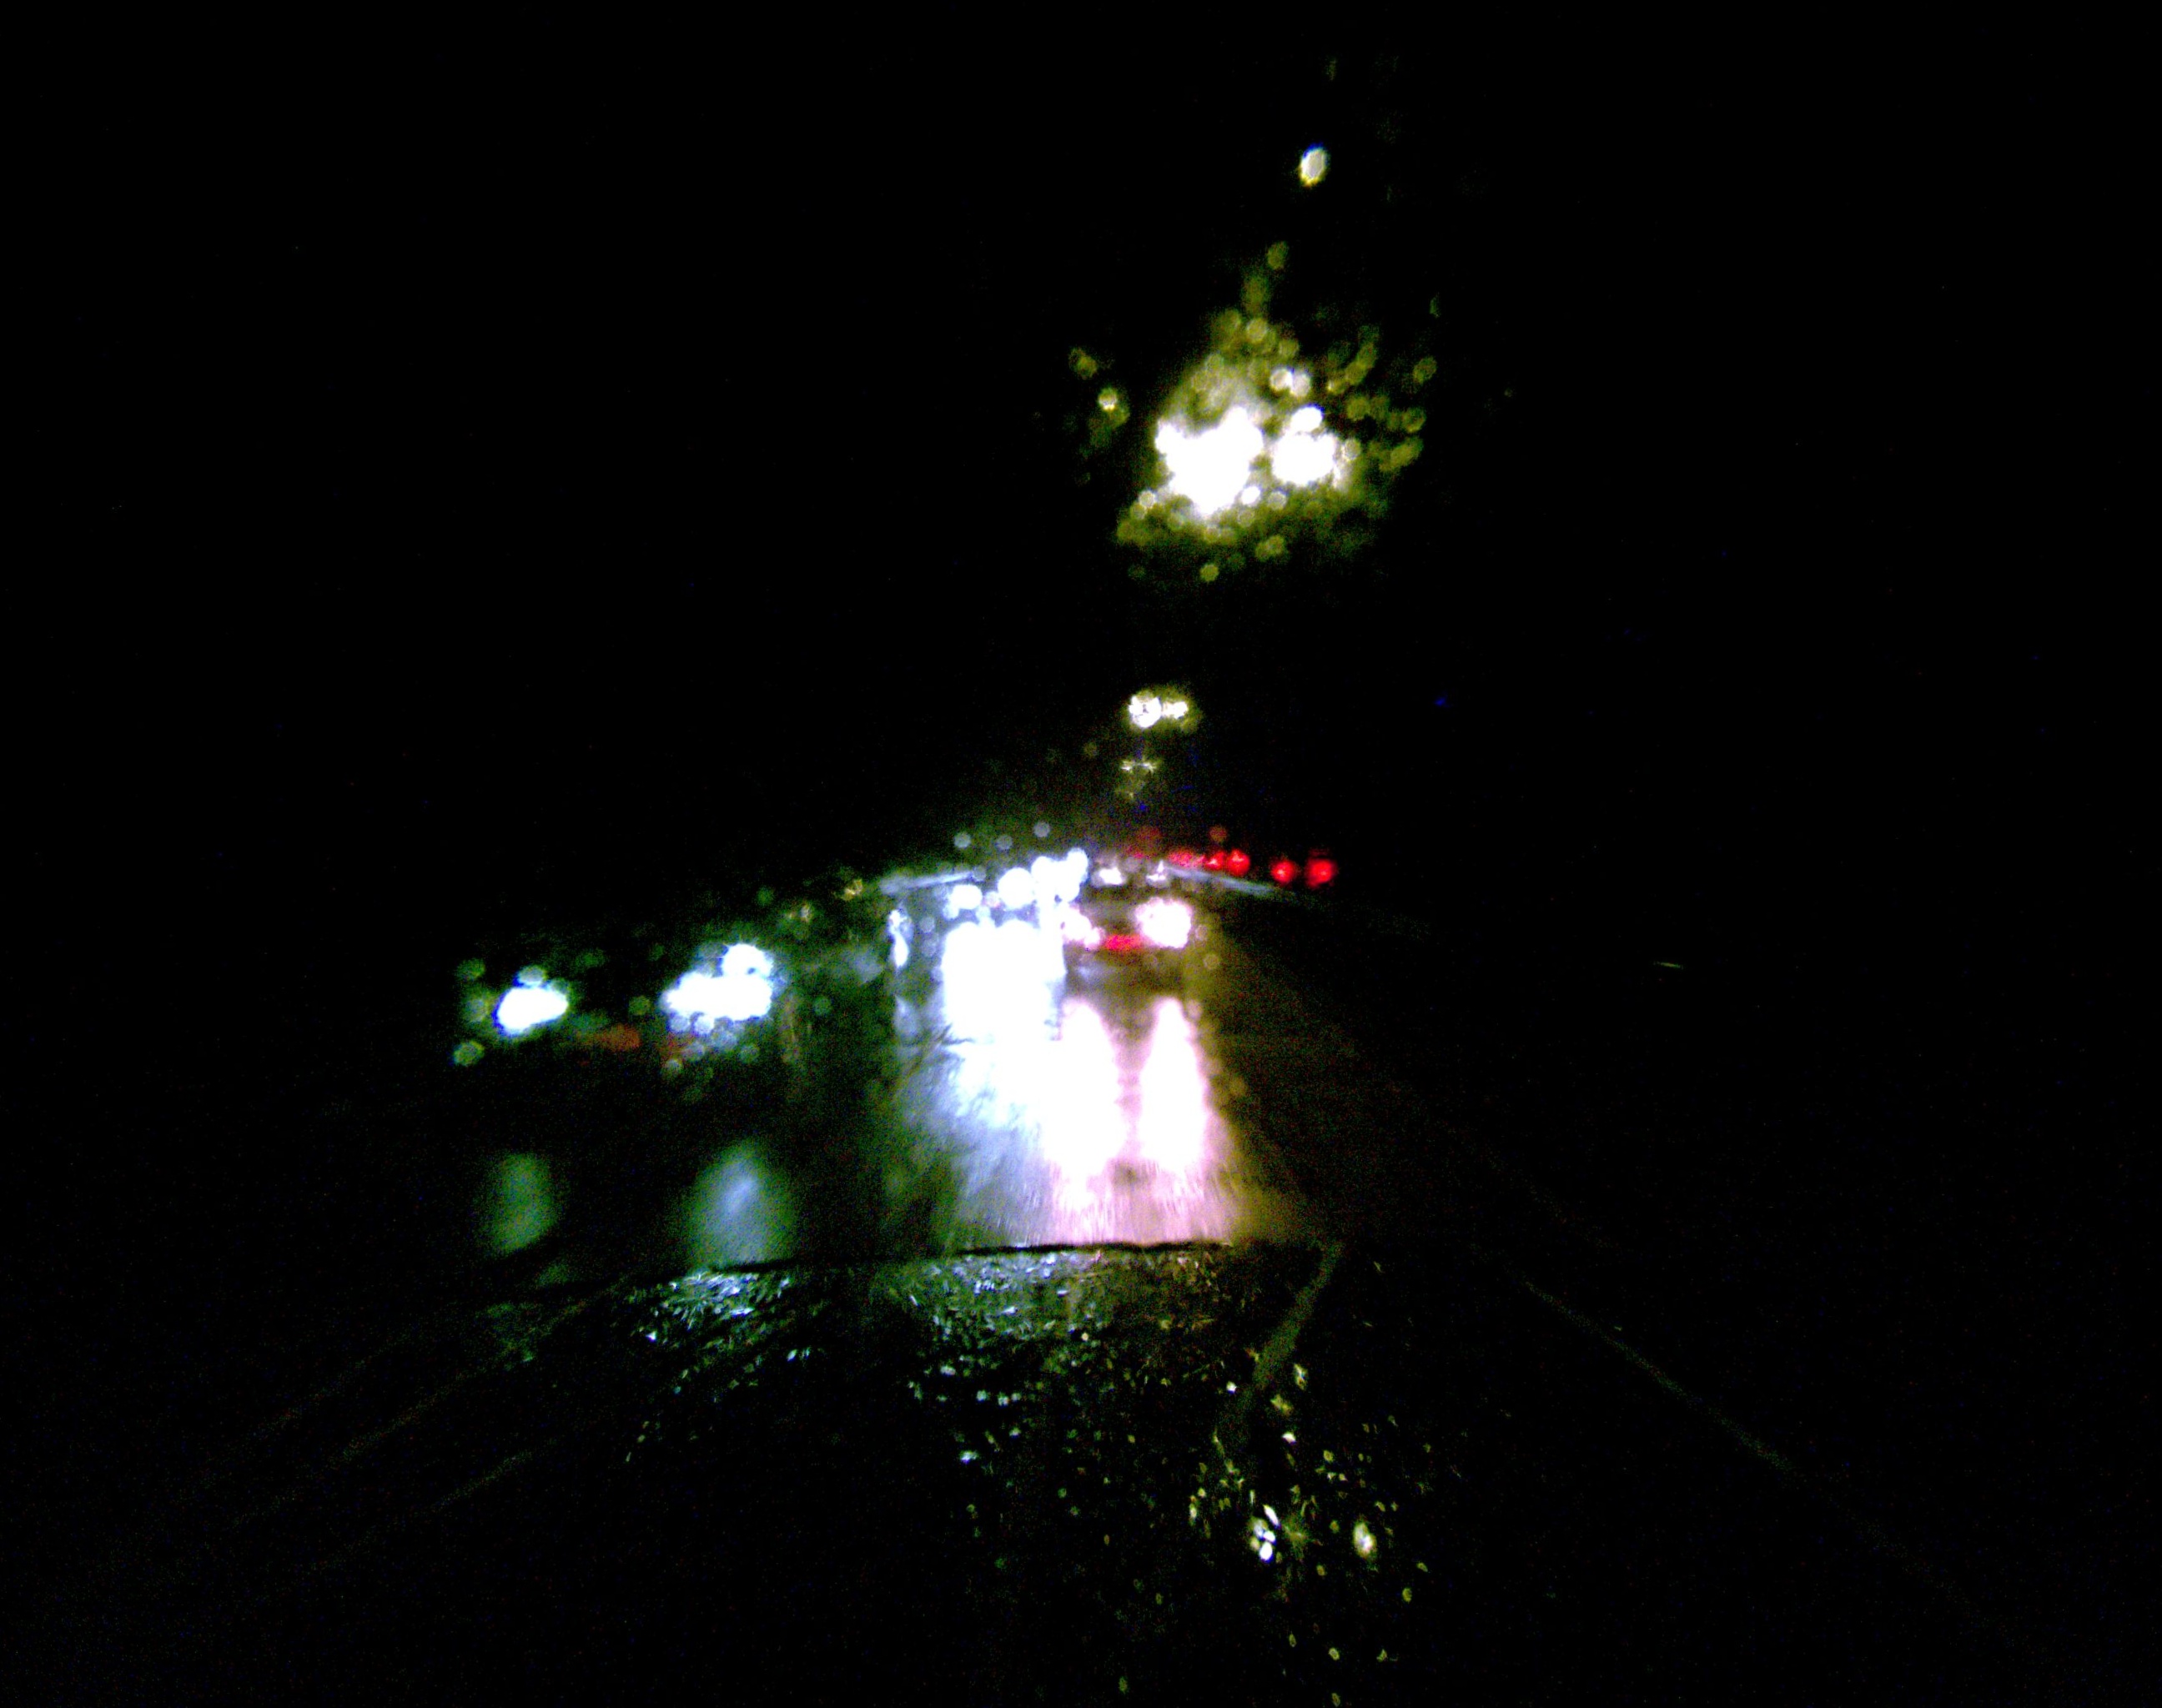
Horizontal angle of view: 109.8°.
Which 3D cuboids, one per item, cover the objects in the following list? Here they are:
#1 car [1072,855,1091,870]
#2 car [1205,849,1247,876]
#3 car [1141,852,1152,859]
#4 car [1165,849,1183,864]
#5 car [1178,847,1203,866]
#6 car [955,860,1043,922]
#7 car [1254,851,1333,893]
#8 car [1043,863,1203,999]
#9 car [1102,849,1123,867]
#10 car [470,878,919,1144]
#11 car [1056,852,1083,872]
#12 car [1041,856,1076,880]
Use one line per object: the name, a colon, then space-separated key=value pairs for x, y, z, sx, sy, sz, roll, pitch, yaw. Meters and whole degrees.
car: x=0.076 y=0.952 z=86.896 sx=1.998 sy=1.657 sz=4.000 roll=-1 pitch=0 yaw=1
car: x=8.855 y=0.502 z=46.747 sx=1.813 sy=1.559 sz=4.000 roll=2 pitch=0 yaw=0
car: x=13.569 y=0.275 z=157.193 sx=1.860 sy=1.467 sz=4.779 roll=-2 pitch=0 yaw=2
car: x=10.543 y=0.243 z=86.341 sx=1.624 sy=1.641 sz=4.000 roll=-1 pitch=1 yaw=1
car: x=9.280 y=0.209 z=64.459 sx=1.571 sy=1.533 sz=4.161 roll=1 pitch=1 yaw=1
car: x=-2.245 y=0.991 z=22.089 sx=1.826 sy=1.476 sz=4.568 roll=-2 pitch=0 yaw=2
car: x=7.865 y=0.626 z=28.528 sx=1.820 sy=1.386 sz=4.462 roll=2 pitch=0 yaw=2
car: x=0.562 y=0.911 z=10.745 sx=1.764 sy=1.492 sz=4.001 roll=-3 pitch=-1 yaw=2
car: x=3.269 y=0.416 z=80.063 sx=1.998 sy=1.774 sz=3.999 roll=-3 pitch=1 yaw=0
car: x=-2.968 y=1.080 z=7.210 sx=1.736 sy=1.440 sz=4.724 roll=-3 pitch=0 yaw=0
car: x=-0.903 y=0.618 z=62.844 sx=1.998 sy=1.531 sz=4.000 roll=-2 pitch=0 yaw=2
car: x=-1.456 y=0.890 z=51.176 sx=1.998 sy=1.455 sz=4.000 roll=-2 pitch=0 yaw=2
